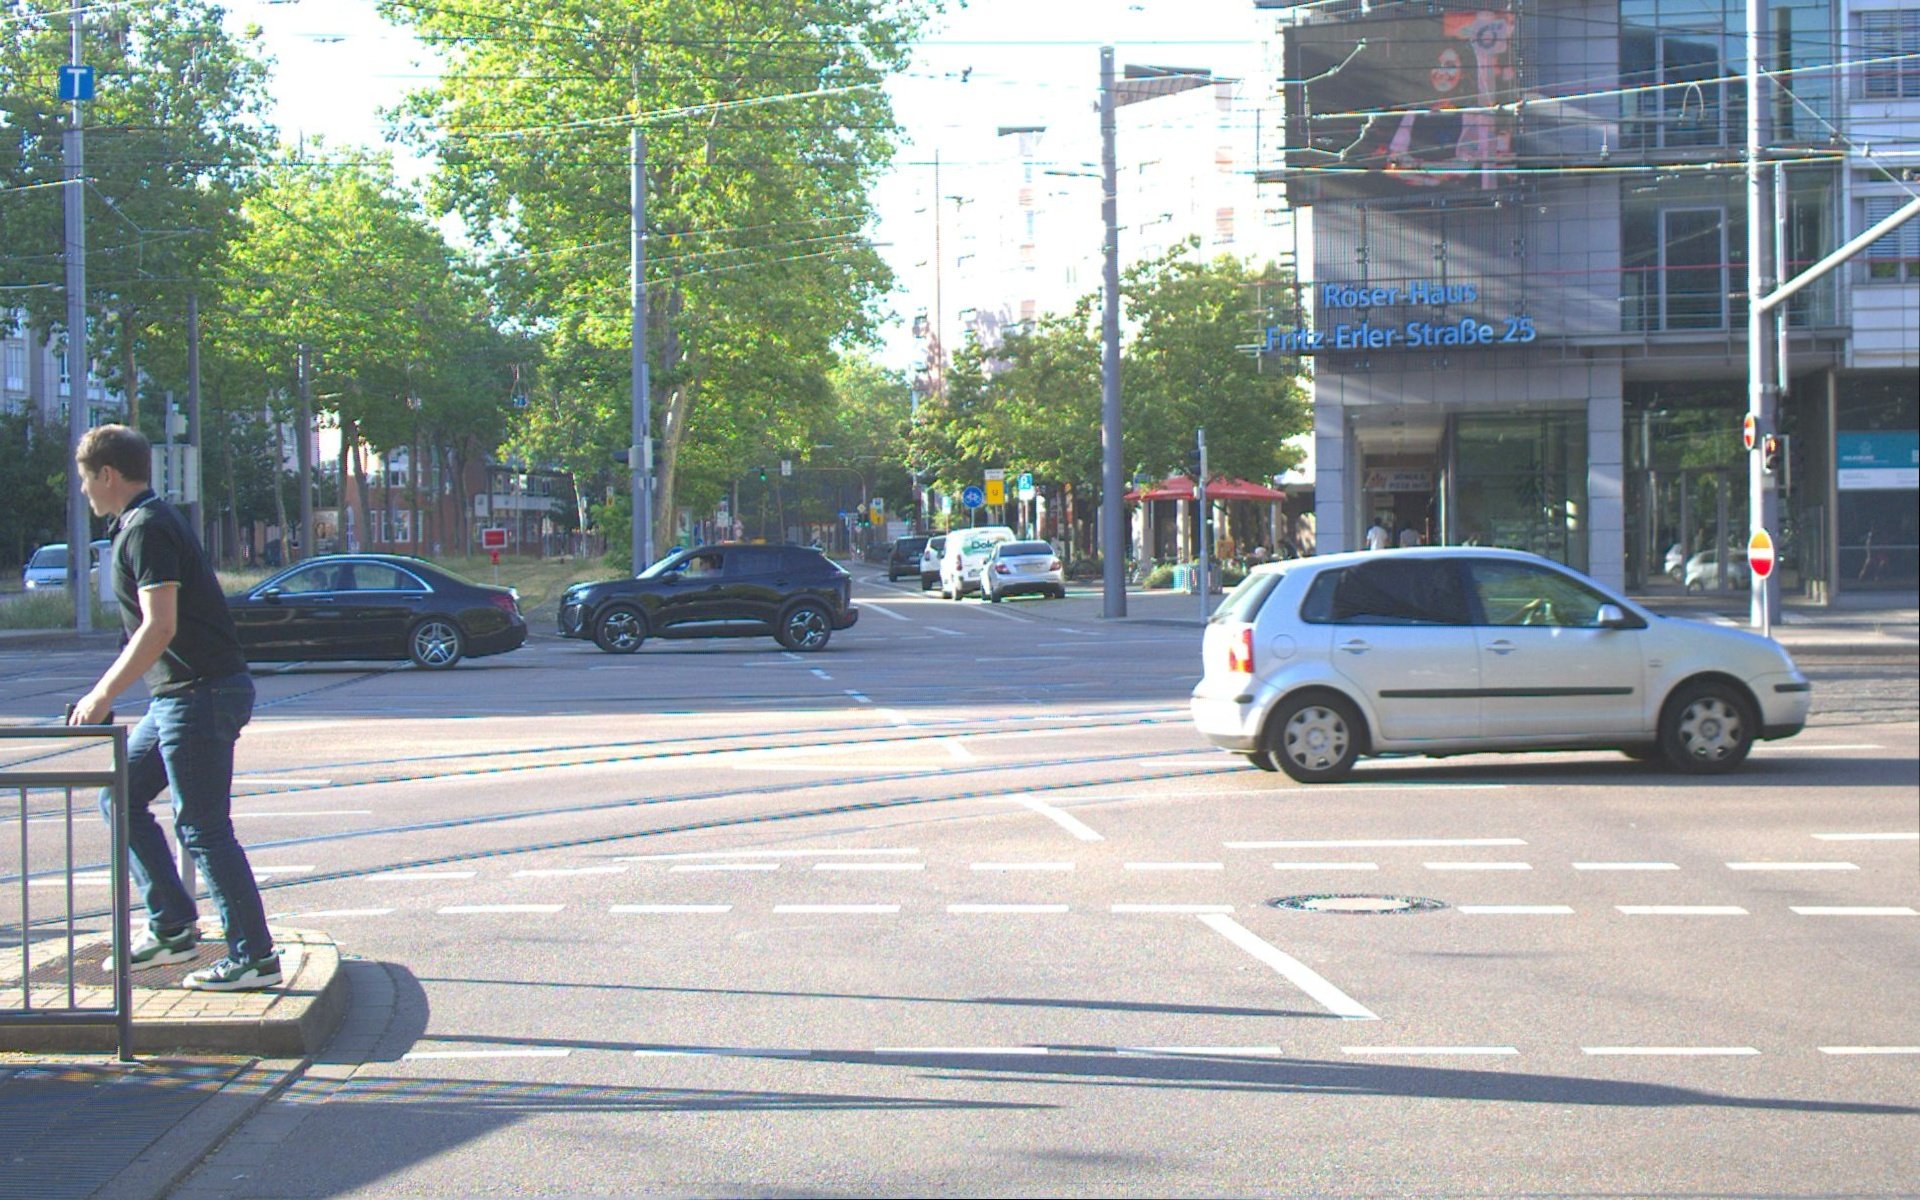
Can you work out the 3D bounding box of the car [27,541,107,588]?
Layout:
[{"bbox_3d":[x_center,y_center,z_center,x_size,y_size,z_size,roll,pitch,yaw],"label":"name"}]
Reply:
[{"bbox_3d":[-29.583,-1.184,114.010,1.993,1.503,4.001,-1,1,-6],"label":"car"}]

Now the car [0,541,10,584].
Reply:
[{"bbox_3d":[-34.621,-1.334,121.152,1.906,1.505,4.001,1,1,-12],"label":"car"}]

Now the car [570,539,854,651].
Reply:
[{"bbox_3d":[-3.570,-0.085,49.177,3.859,1.502,1.796,-1,1,-10],"label":"car"}]

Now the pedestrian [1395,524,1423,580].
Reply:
[{"bbox_3d":[11.828,-1.277,90.571,0.706,1.460,0.384,-1,1,9],"label":"pedestrian"}]

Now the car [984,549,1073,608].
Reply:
[{"bbox_3d":[1.626,-0.533,82.865,1.993,1.327,4.000,-1,1,-1],"label":"car"}]

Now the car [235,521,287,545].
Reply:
[{"bbox_3d":[-44.192,-4.231,217.439,1.994,1.503,3.999,-1,1,7],"label":"car"}]

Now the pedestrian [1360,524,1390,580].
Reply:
[{"bbox_3d":[10.985,-1.277,90.957,0.739,1.460,0.536,-1,1,9],"label":"pedestrian"}]

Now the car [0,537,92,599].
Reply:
[{"bbox_3d":[-23.186,-0.818,86.571,1.993,1.503,4.001,-1,1,-6],"label":"car"}]

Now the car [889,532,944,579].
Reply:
[{"bbox_3d":[-1.596,-1.659,126.728,1.993,1.656,4.000,-1,1,-1],"label":"car"}]

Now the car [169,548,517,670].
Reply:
[{"bbox_3d":[-7.833,0.091,43.774,4.239,1.429,1.796,-1,1,-10],"label":"car"}]

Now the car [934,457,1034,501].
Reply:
[{"bbox_3d":[0.985,-4.966,141.193,3.764,1.744,1.780,1,0,14],"label":"car"}]

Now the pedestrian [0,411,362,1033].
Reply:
[{"bbox_3d":[-2.503,0.351,10.603,1.208,1.816,1.042,-1,1,-6],"label":"pedestrian"}]

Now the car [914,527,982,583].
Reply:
[{"bbox_3d":[-0.387,-1.394,105.011,1.993,1.656,4.000,-1,1,-1],"label":"car"}]

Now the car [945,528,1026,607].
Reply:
[{"bbox_3d":[0.637,-0.869,89.701,1.993,1.985,4.000,-1,1,-1],"label":"car"}]

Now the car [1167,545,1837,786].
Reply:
[{"bbox_3d":[3.387,0.380,21.954,3.908,1.429,1.825,-1,1,-4],"label":"car"}]

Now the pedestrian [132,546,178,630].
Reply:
[{"bbox_3d":[-14.728,-0.214,62.908,0.754,1.525,0.508,0,1,-7],"label":"pedestrian"}]

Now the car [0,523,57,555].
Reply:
[{"bbox_3d":[-47.475,-3.049,172.358,3.987,1.547,1.607,1,1,-31],"label":"car"}]
